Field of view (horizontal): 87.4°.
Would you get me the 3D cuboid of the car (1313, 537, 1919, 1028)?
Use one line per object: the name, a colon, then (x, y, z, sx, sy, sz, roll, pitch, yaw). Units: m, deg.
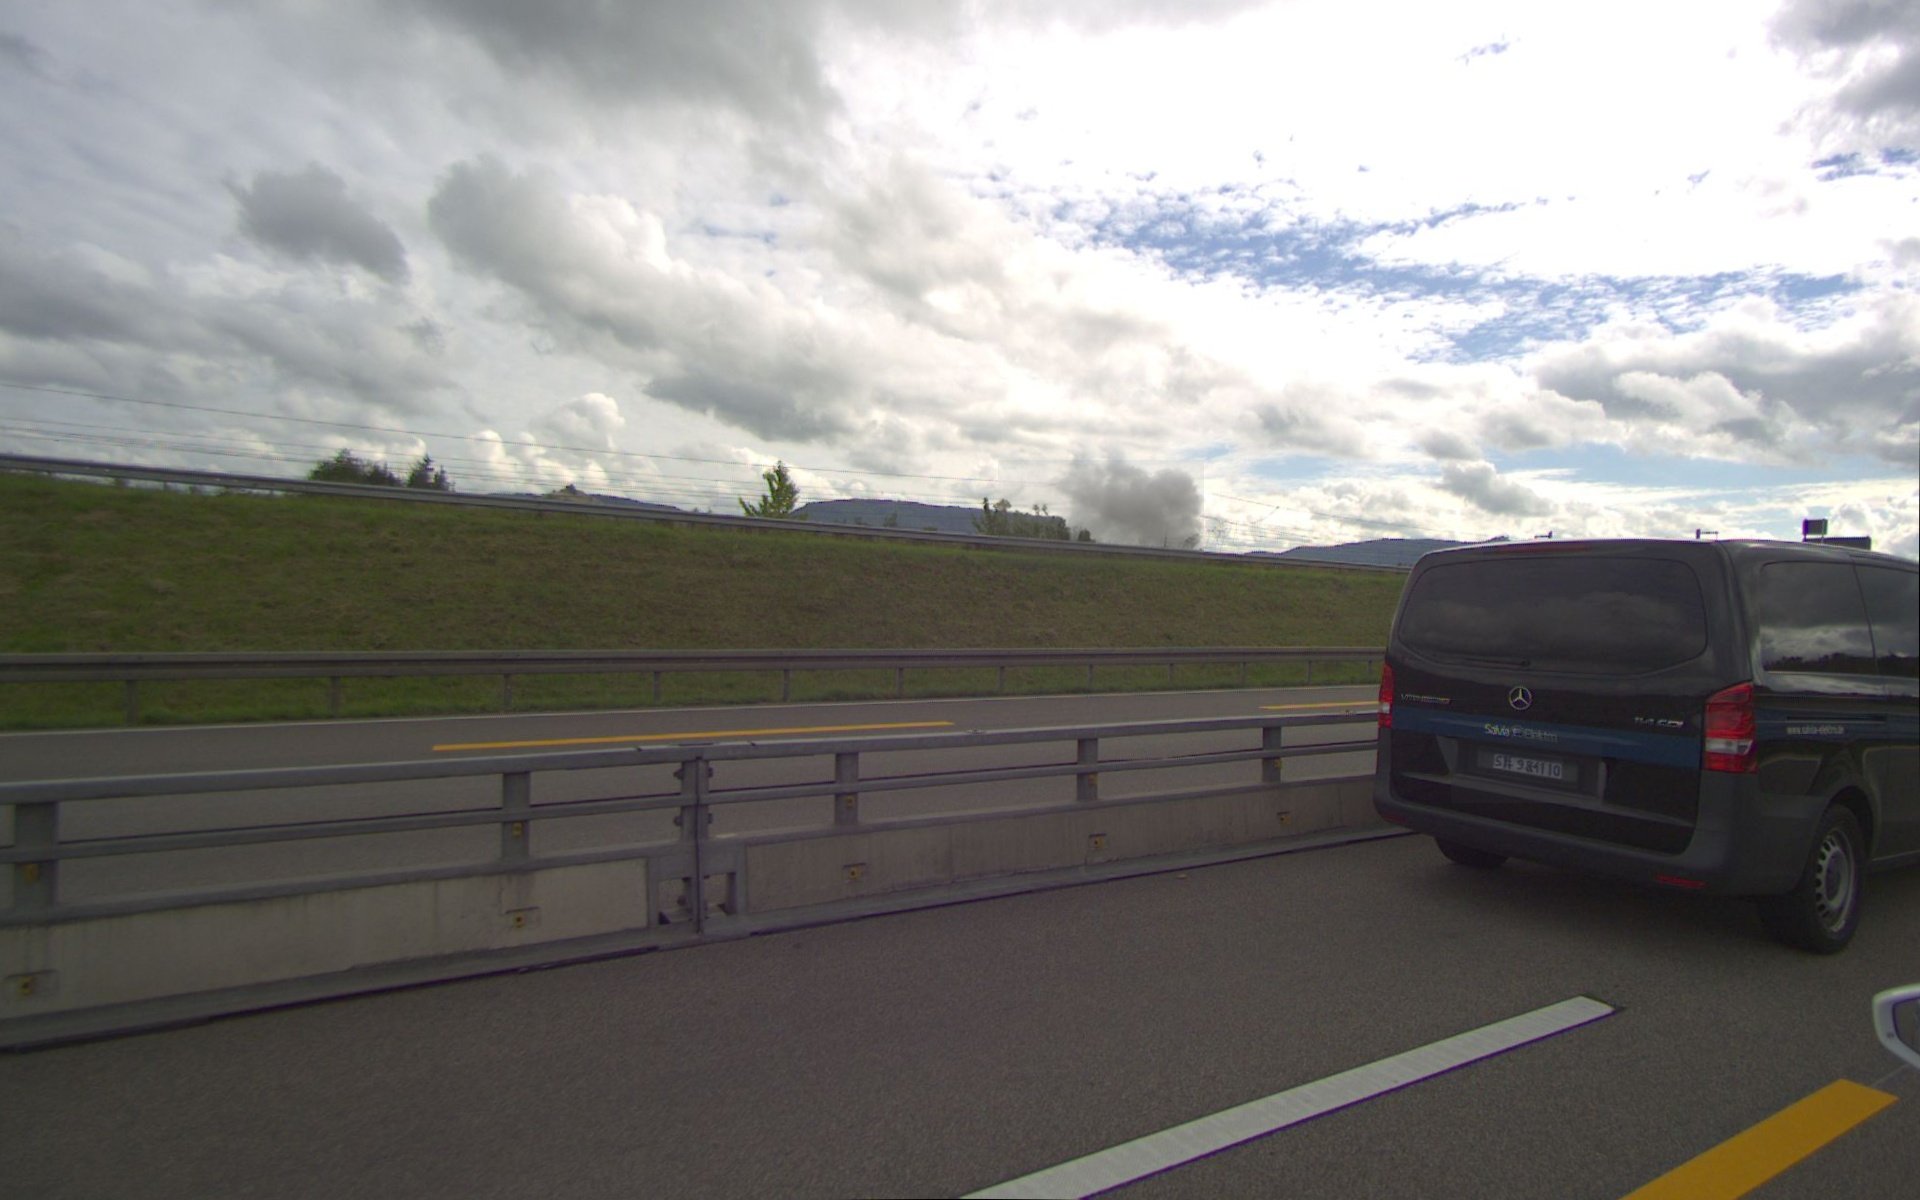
car: (4.837, 0.765, 6.110, 5.544, 1.867, 1.984, 2, -1, -31)
